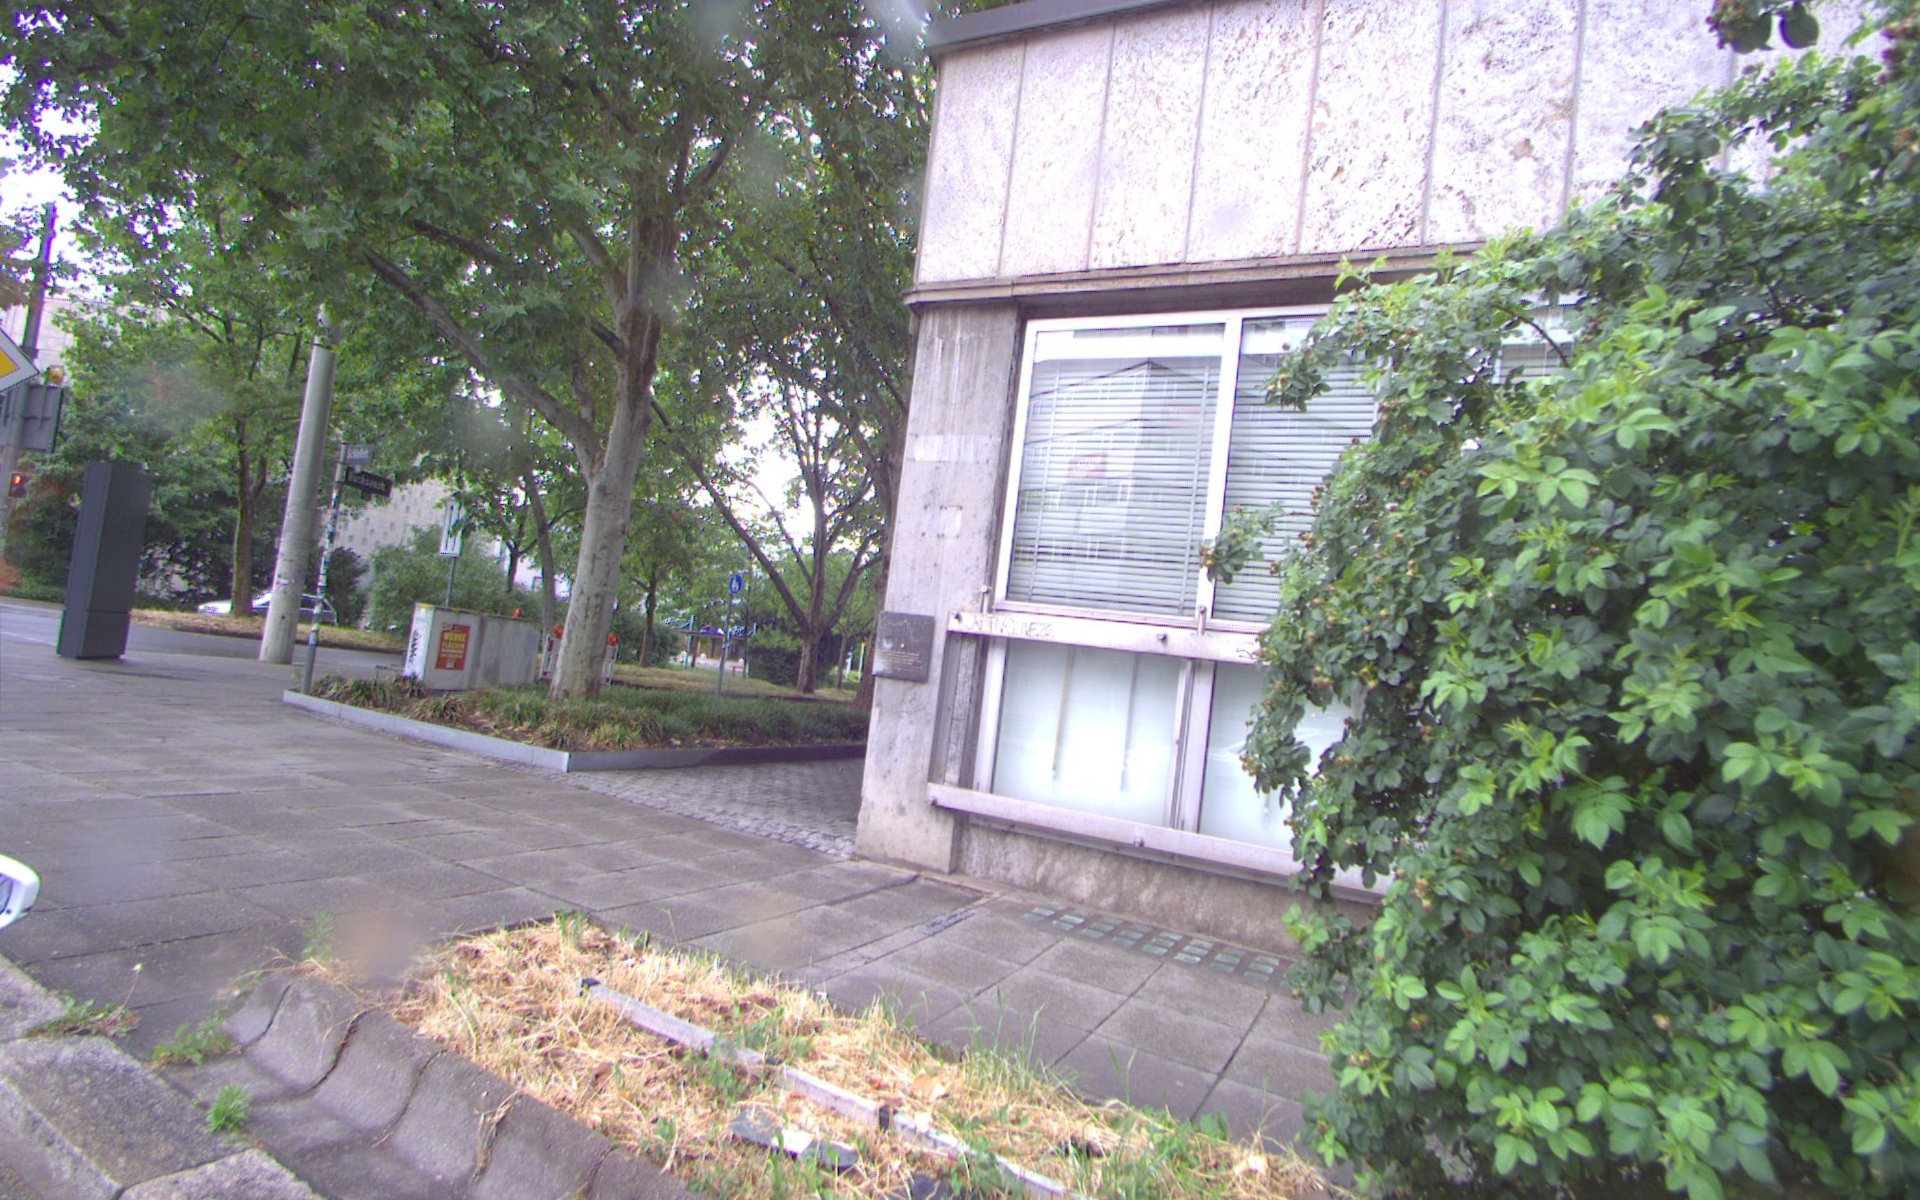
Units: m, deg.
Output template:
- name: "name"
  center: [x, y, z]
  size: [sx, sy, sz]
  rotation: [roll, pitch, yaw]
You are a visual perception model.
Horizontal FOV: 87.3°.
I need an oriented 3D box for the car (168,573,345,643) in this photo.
- name: "car"
  center: [-22.106, 0.300, 31.778]
  size: [1.964, 1.456, 4.007]
  rotation: [6, -6, 25]
